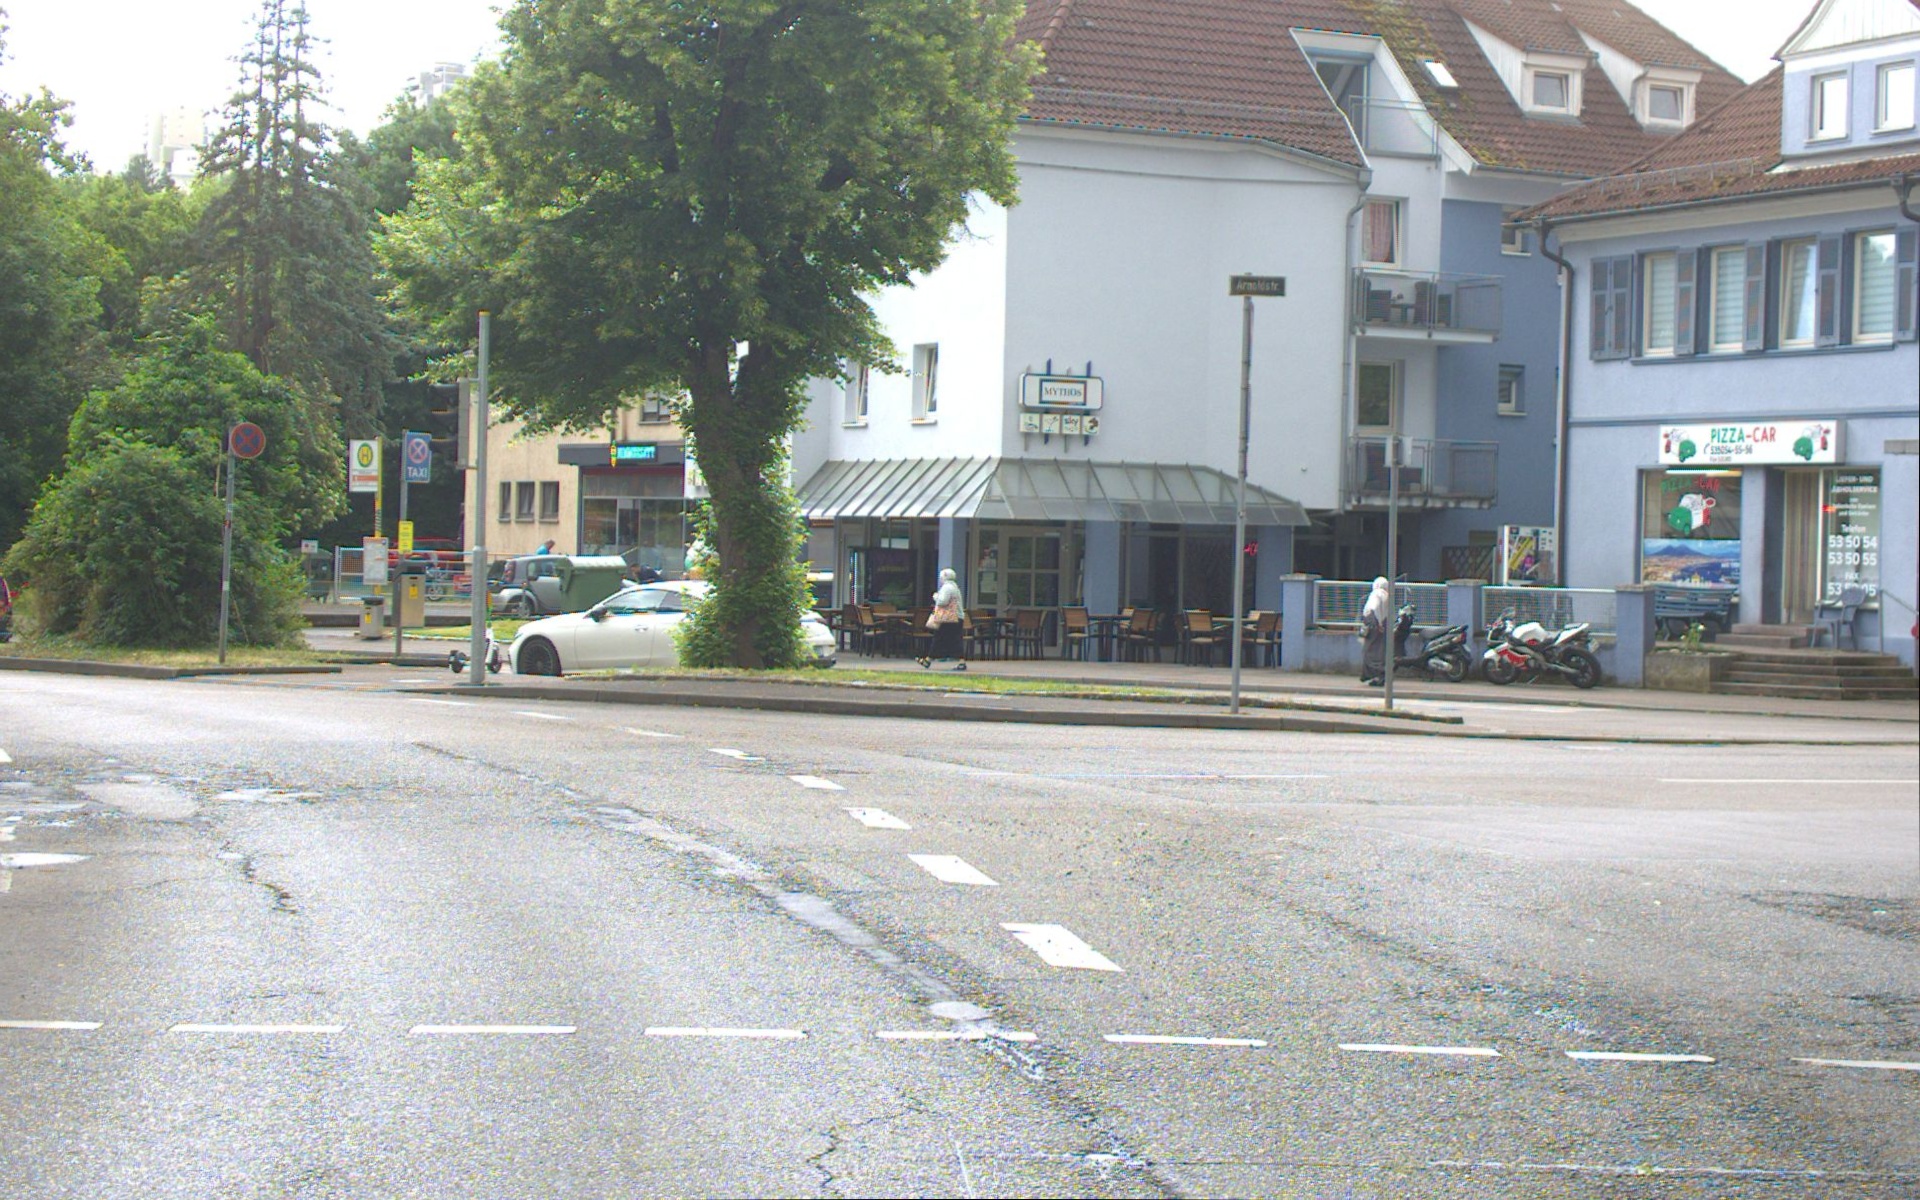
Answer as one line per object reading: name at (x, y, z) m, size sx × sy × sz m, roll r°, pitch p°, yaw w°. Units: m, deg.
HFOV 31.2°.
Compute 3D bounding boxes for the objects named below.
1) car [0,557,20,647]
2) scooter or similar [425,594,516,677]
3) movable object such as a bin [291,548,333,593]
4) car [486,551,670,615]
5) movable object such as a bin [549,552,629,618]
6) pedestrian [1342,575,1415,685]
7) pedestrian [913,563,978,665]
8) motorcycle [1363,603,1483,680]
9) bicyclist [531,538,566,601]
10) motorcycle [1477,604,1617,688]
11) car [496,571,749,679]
car at (-16.516, -0.011, 53.727) m, size 3.590 × 1.389 × 1.469 m, roll 2°, pitch 1°, yaw 32°
scooter or similar at (-6.061, 0.432, 42.654) m, size 0.417 × 1.008 × 1.565 m, roll 1°, pitch 1°, yaw 20°
movable object such as a bin at (-16.247, -0.729, 86.172) m, size 0.950 × 1.111 × 0.383 m, roll 1°, pitch 1°, yaw -21°
car at (-8.426, -0.364, 75.876) m, size 3.733 × 1.340 × 1.434 m, roll 1°, pitch 1°, yaw -26°
movable object such as a bin at (-7.984, -0.322, 73.979) m, size 1.440 × 1.404 × 0.967 m, roll 1°, pitch 1°, yaw -27°
pedestrian at (5.929, 0.419, 48.699) m, size 0.768 × 1.539 × 0.677 m, roll 1°, pitch 1°, yaw 39°
pedestrian at (-0.226, 0.216, 52.986) m, size 0.707 × 1.539 × 0.677 m, roll 2°, pitch 1°, yaw 40°
motorcycle at (6.750, 0.595, 50.163) m, size 1.636 × 1.060 × 0.693 m, roll 2°, pitch 1°, yaw 44°
bicyclist at (-10.150, -0.750, 84.753) m, size 0.737 × 1.536 × 0.600 m, roll 1°, pitch 1°, yaw -19°
motorcycle at (8.255, 0.632, 48.384) m, size 1.798 × 1.118 × 0.693 m, roll 2°, pitch 1°, yaw 38°
car at (-4.533, 0.316, 46.047) m, size 3.171 × 1.350 × 1.436 m, roll 2°, pitch 1°, yaw 35°
